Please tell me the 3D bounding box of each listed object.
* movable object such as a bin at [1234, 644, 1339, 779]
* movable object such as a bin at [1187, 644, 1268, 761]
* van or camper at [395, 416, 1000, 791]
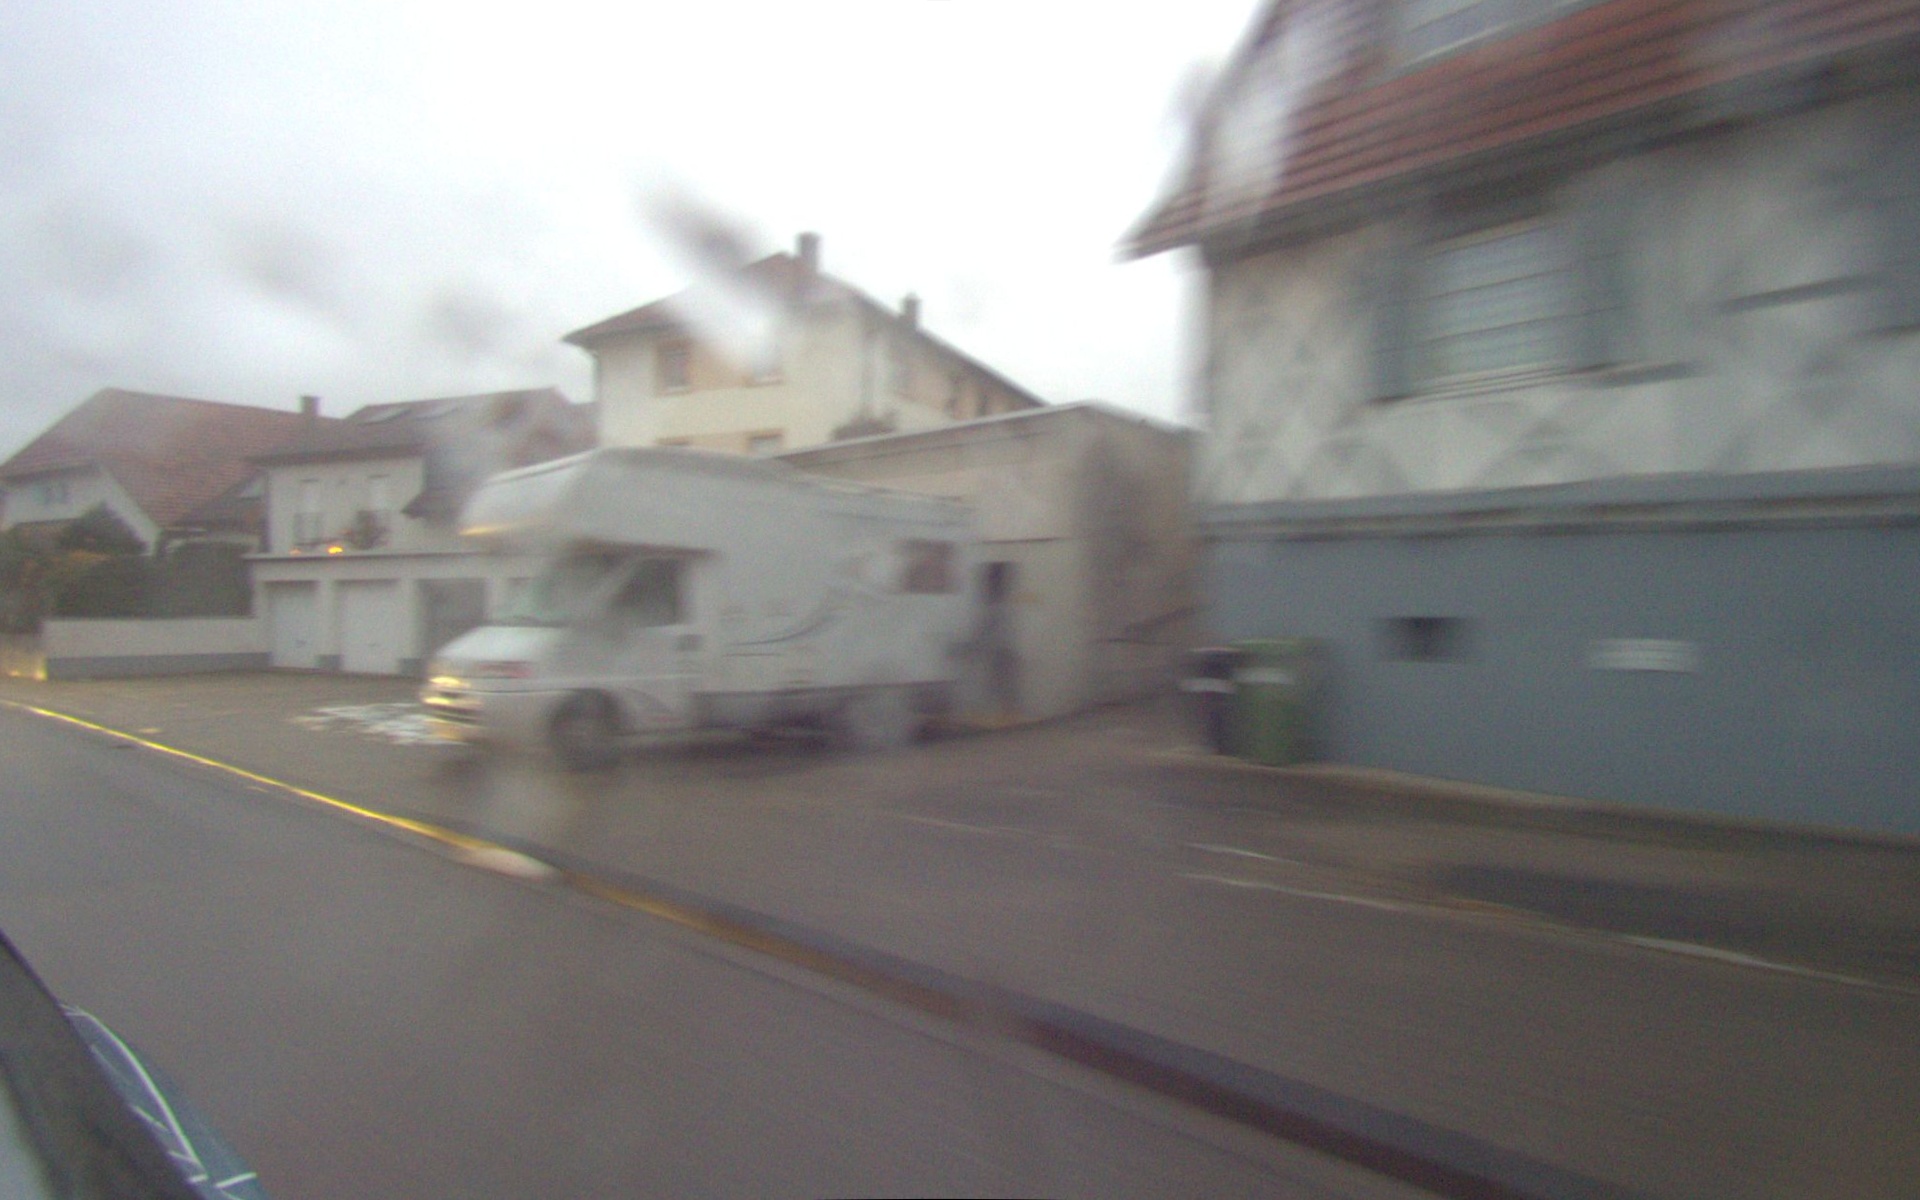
[{"bbox_3d":[2.713,0.900,8.409,0.609,1.028,0.581,-1,-1,-41],"label":"movable object such as a bin"},{"bbox_3d":[2.343,0.877,8.863,0.451,0.955,0.502,-1,-1,-41],"label":"movable object such as a bin"},{"bbox_3d":[-2.414,0.152,10.970,2.324,2.964,5.991,-1,-3,43],"label":"van or camper"}]
